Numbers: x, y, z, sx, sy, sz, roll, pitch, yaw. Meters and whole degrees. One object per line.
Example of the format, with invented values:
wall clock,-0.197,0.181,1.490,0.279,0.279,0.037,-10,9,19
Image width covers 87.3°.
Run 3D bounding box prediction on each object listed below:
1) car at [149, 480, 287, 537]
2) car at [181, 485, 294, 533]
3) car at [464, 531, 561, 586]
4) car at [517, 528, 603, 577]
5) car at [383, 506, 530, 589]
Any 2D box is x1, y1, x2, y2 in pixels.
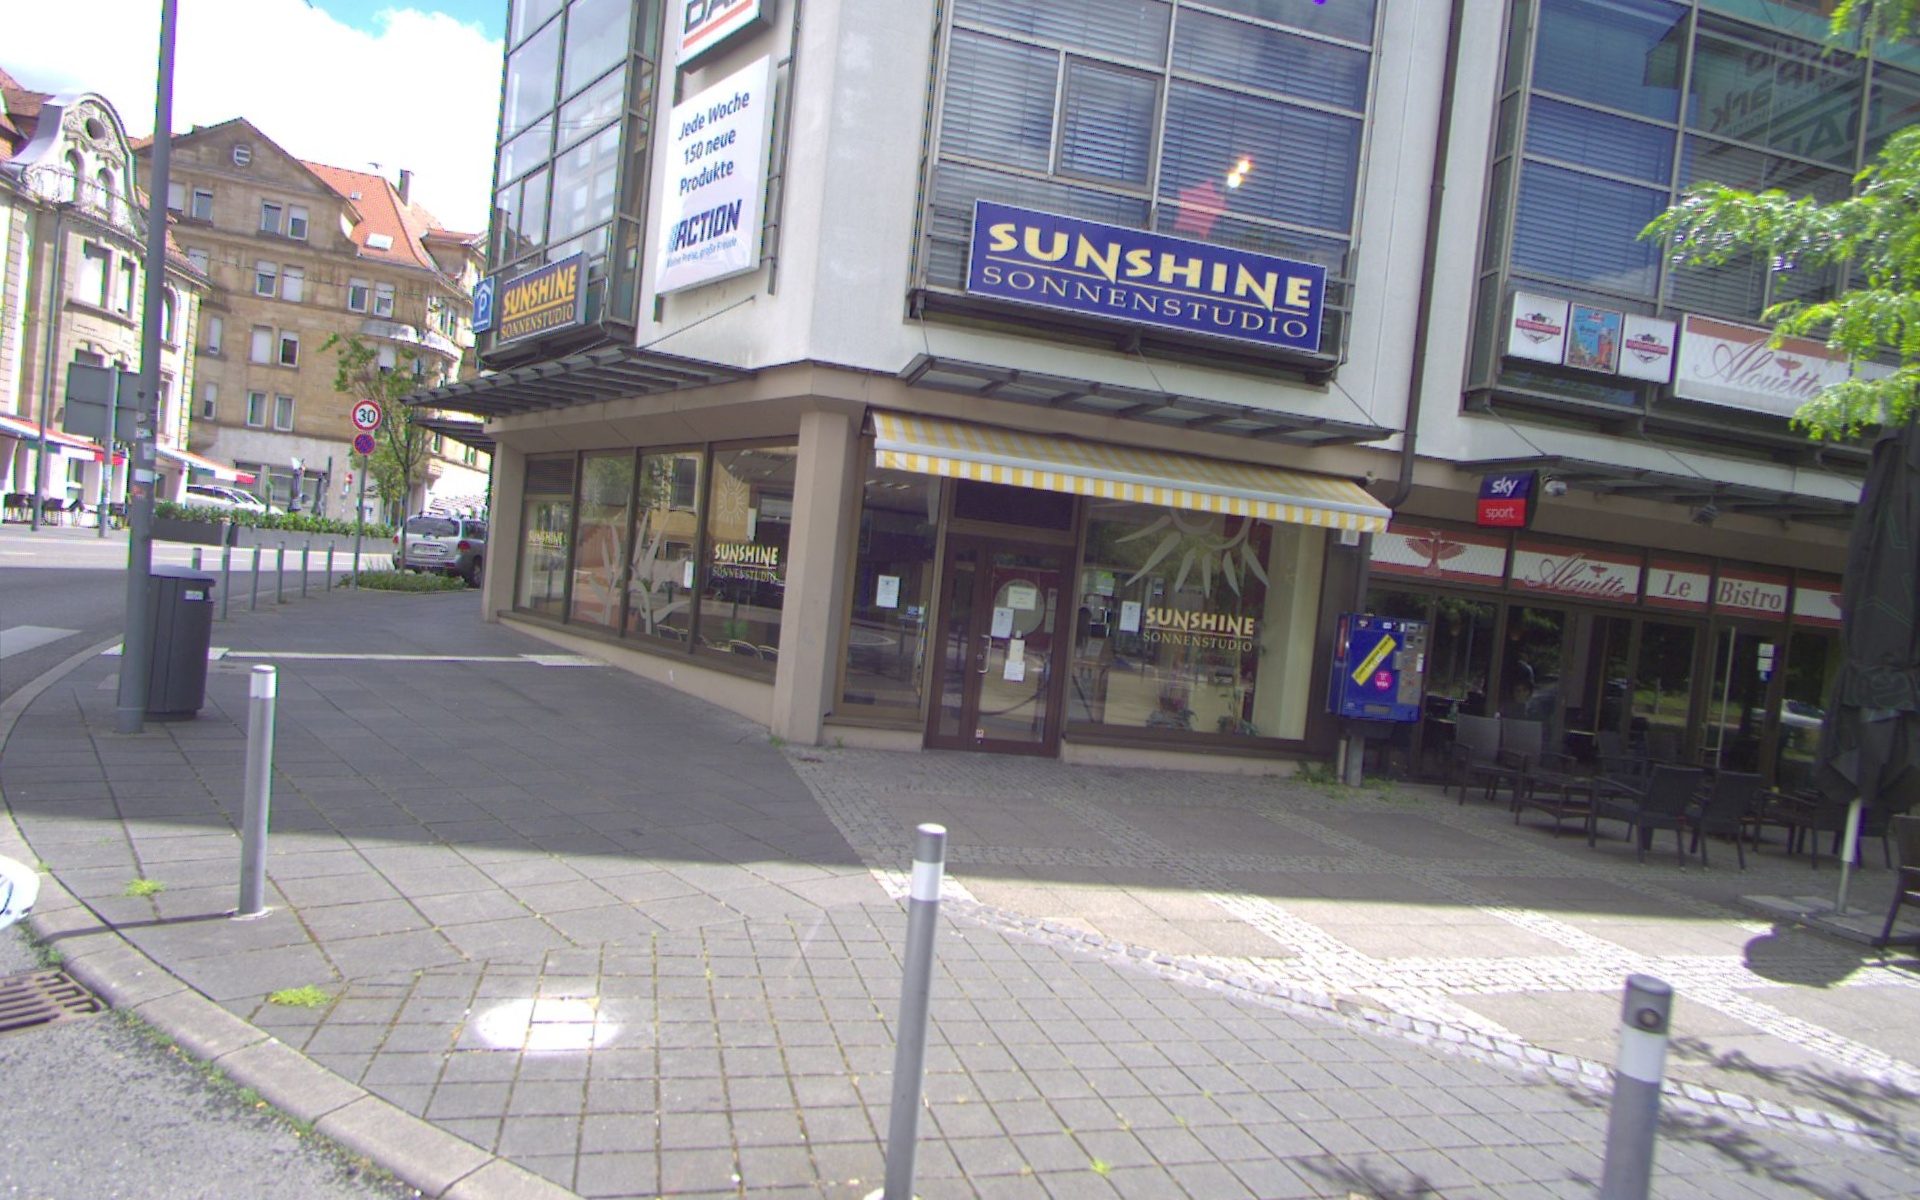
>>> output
car,-32.205,-3.925,43.813,4.376,1.798,1.987,7,1,-25
car,-35.102,-4.400,48.986,3.936,1.683,1.903,7,1,-14
car,-13.861,-1.276,31.398,1.598,1.452,4.230,6,1,-9
car,-14.956,-1.730,37.835,1.797,1.539,4.227,5,1,-6
car,-12.572,-1.255,25.436,1.797,1.753,4.227,5,1,-6
